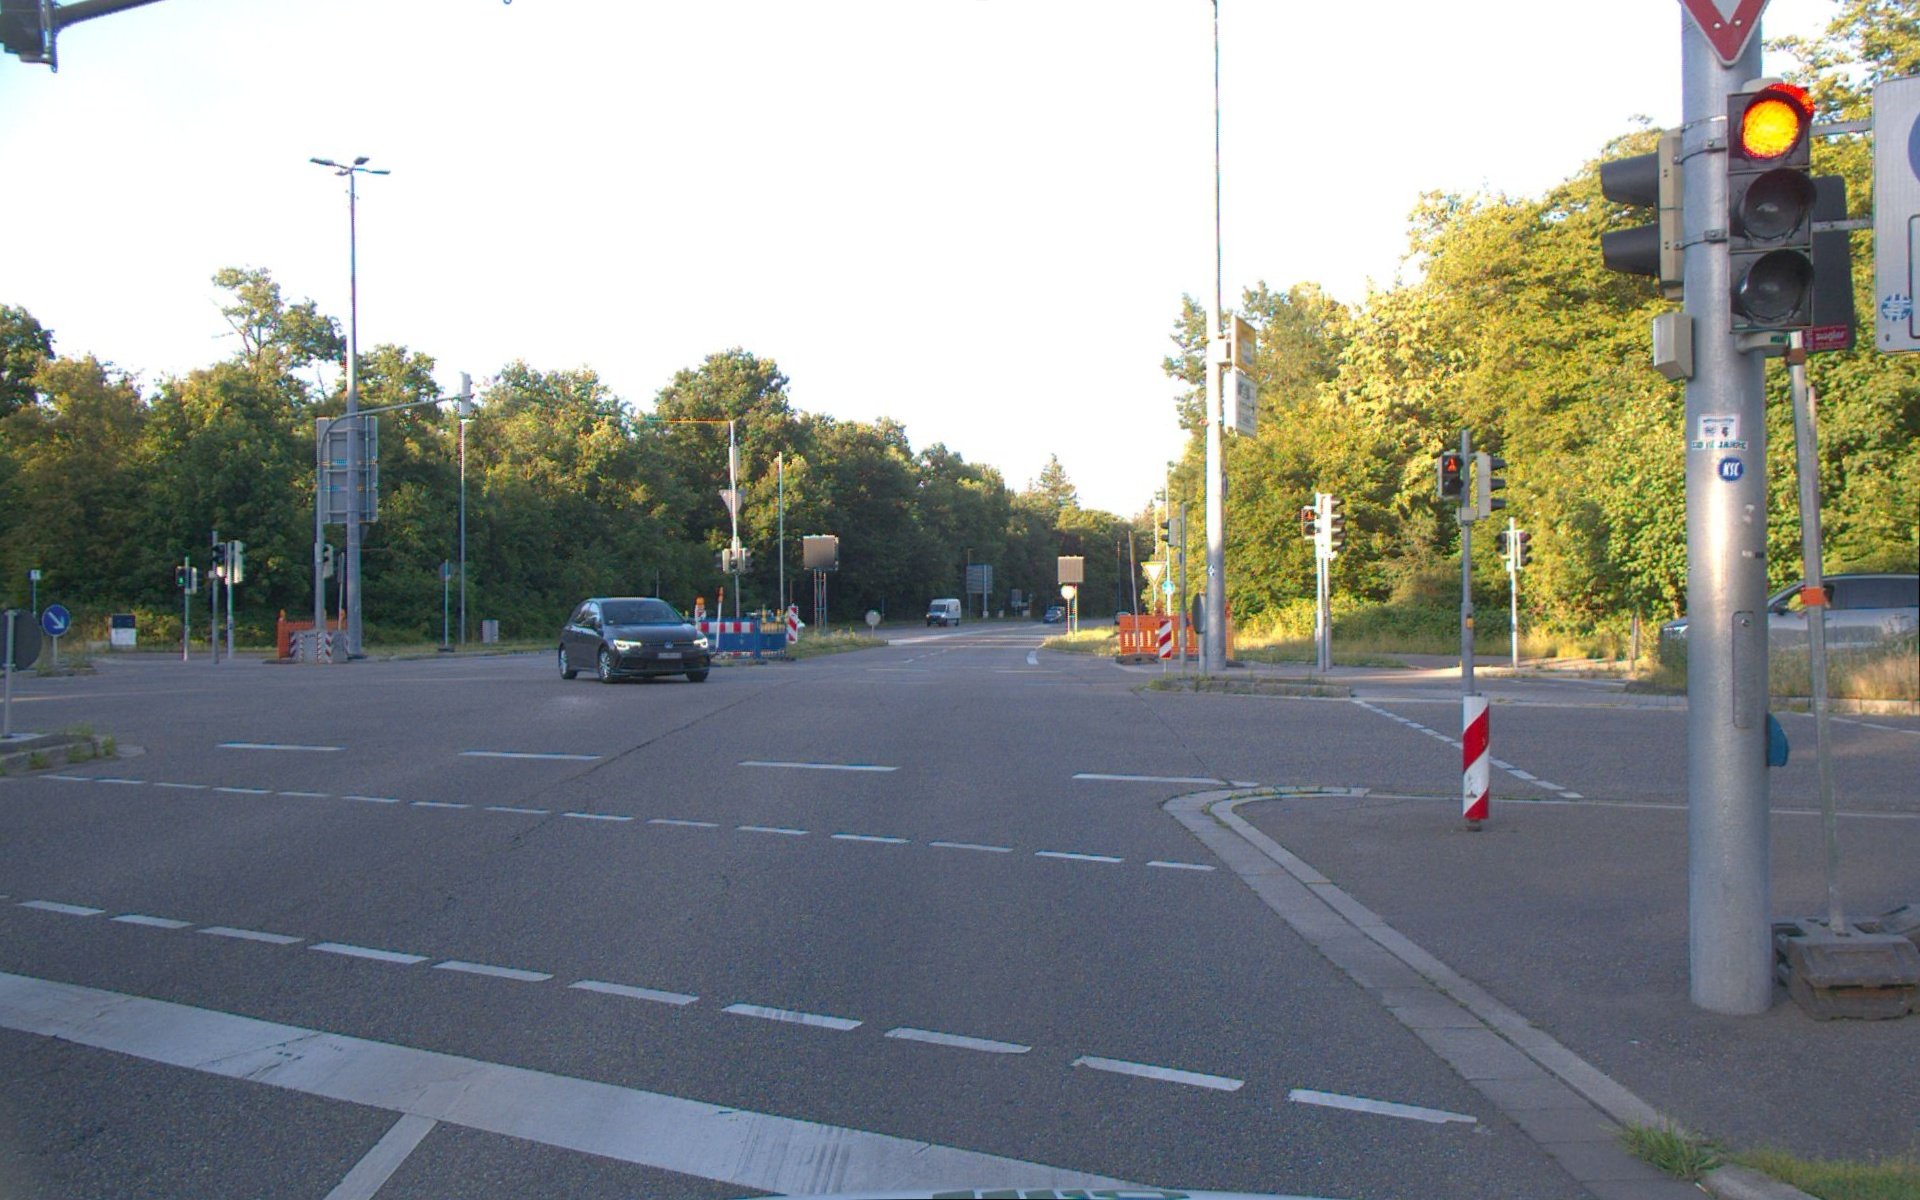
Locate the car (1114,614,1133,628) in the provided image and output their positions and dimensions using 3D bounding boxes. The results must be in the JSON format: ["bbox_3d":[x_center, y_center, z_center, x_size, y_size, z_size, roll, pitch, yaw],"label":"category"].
[{"bbox_3d":[19.191,2.443,194.139,1.951,1.646,4.003,0,0,11],"label":"car"}]

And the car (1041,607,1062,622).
[{"bbox_3d":[11.045,1.724,198.850,1.951,1.668,4.004,-2,1,11],"label":"car"}]

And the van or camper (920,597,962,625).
[{"bbox_3d":[-1.829,1.024,164.102,2.823,2.699,7.128,0,0,11],"label":"van or camper"}]

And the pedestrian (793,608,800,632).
[{"bbox_3d":[-14.467,1.766,146.077,0.511,2.049,0.600,1,-1,-1],"label":"pedestrian"}]

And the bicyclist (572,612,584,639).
[{"bbox_3d":[-20.074,1.358,86.908,0.515,1.411,0.401,0,0,-42],"label":"bicyclist"}]

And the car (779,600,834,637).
[{"bbox_3d":[-8.704,1.043,94.138,1.951,2.049,4.003,0,0,13],"label":"car"}]

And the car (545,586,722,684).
[{"bbox_3d":[-5.800,0.563,28.957,1.969,1.556,4.640,0,0,-26],"label":"car"}]

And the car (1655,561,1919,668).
[{"bbox_3d":[13.743,0.228,26.497,4.716,1.626,2.000,-1,0,21],"label":"car"}]
